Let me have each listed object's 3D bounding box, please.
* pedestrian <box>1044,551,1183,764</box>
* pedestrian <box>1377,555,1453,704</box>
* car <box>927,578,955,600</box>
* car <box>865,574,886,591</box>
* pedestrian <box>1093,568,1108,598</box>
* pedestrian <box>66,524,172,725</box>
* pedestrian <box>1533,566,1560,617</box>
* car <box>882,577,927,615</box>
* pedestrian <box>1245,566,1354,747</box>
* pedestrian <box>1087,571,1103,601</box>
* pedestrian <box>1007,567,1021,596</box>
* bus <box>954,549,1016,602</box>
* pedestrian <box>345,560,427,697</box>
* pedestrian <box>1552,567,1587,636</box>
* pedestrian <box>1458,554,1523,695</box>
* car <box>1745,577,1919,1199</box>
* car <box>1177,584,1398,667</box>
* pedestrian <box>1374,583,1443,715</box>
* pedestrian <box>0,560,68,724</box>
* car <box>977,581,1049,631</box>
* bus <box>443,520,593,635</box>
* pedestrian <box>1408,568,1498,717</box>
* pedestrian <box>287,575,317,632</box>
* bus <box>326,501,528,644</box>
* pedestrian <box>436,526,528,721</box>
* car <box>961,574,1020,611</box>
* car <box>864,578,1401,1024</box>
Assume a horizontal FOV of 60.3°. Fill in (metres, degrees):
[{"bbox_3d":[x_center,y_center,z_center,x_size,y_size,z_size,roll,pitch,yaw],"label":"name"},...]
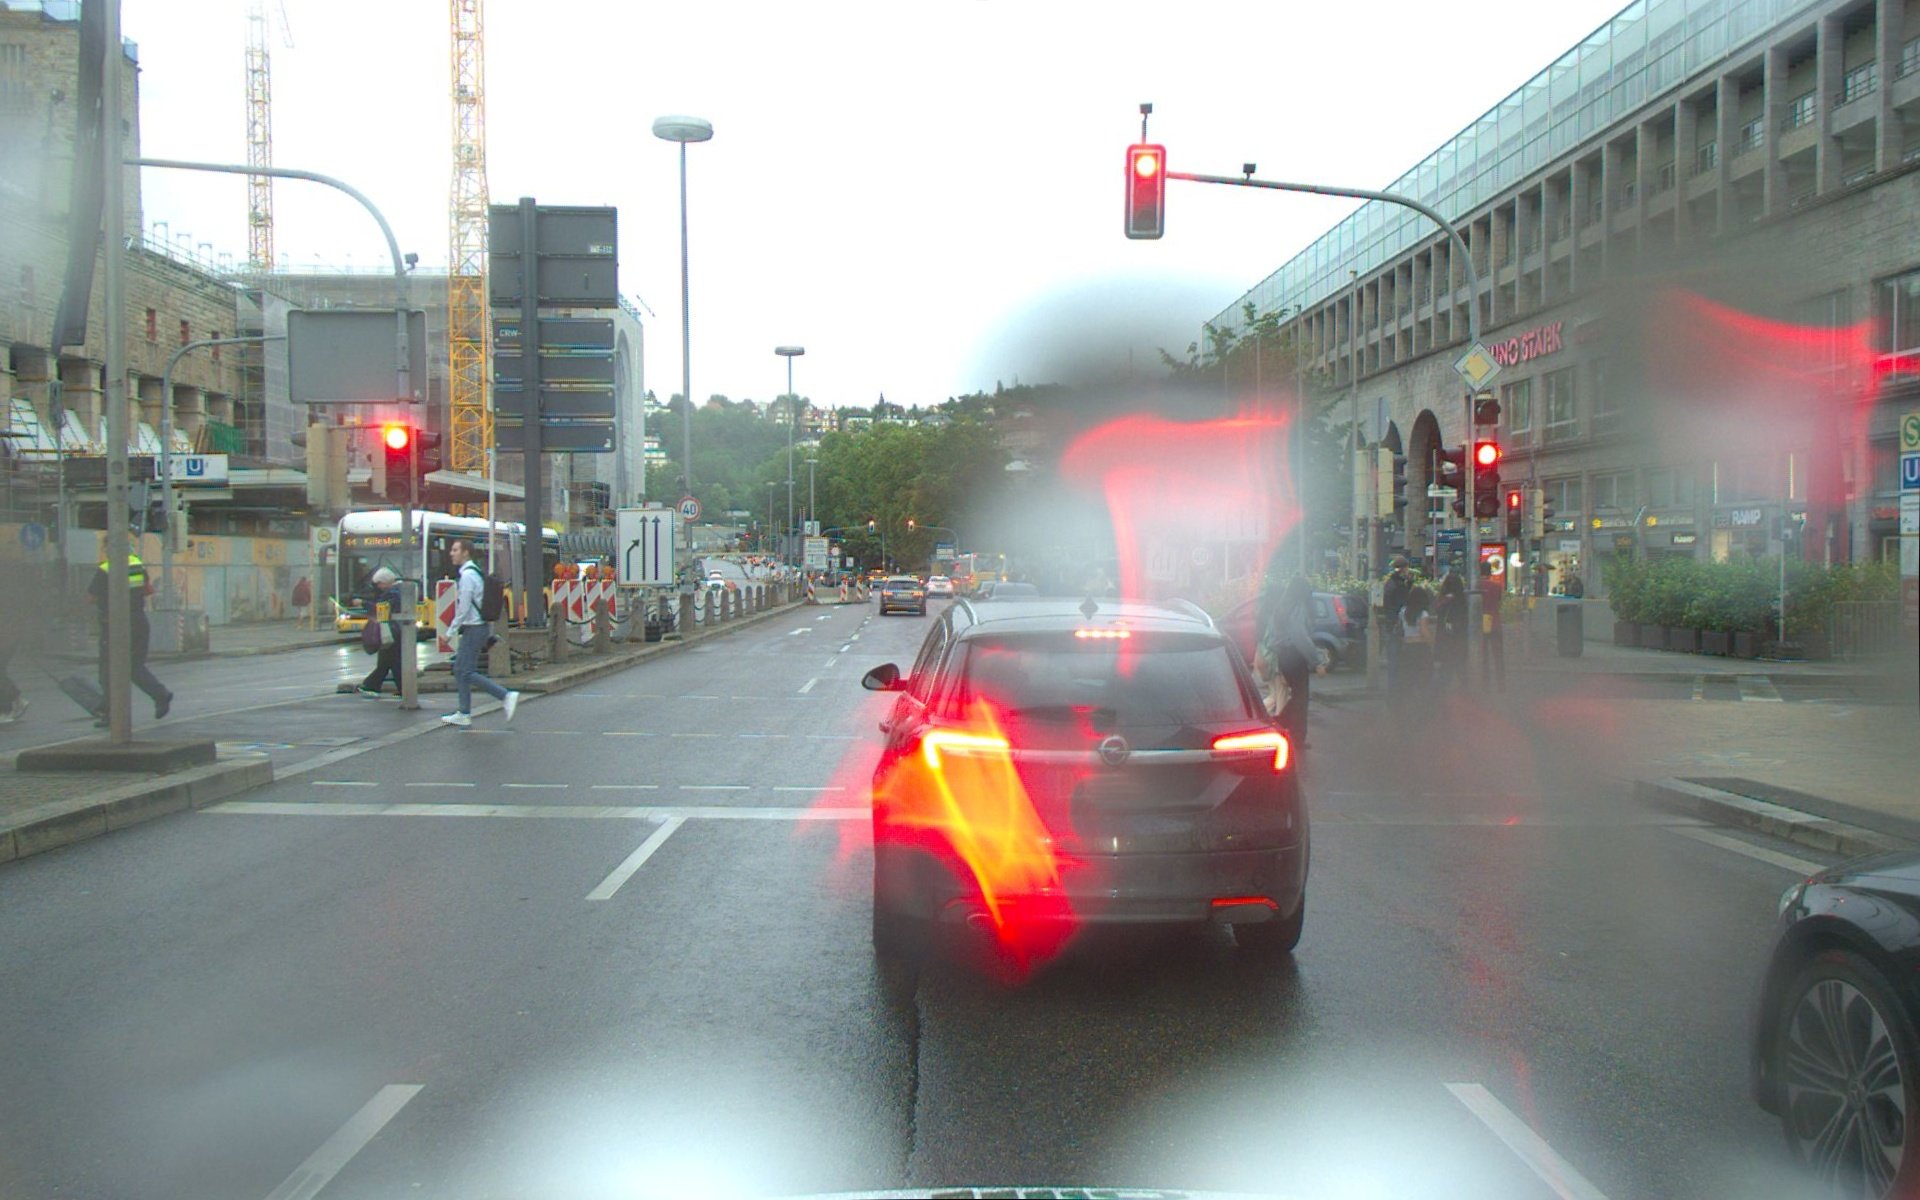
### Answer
[{"bbox_3d":[1.330,0.492,14.478,1.074,1.782,0.653,-2,0,-4],"label":"pedestrian"},{"bbox_3d":[5.430,0.346,19.760,0.740,1.747,0.466,1,0,-5],"label":"pedestrian"},{"bbox_3d":[-1.282,-0.732,110.684,1.808,1.422,3.563,1,0,-1],"label":"car"},{"bbox_3d":[-7.648,-1.596,149.984,1.723,1.422,3.563,1,0,-1],"label":"car"},{"bbox_3d":[8.011,-0.955,94.323,0.748,1.720,0.824,1,0,-5],"label":"pedestrian"},{"bbox_3d":[-8.046,0.229,15.844,0.566,1.868,0.819,1,0,-1],"label":"pedestrian"},{"bbox_3d":[23.729,-0.355,66.917,0.747,2.049,0.825,1,0,-1],"label":"pedestrian"},{"bbox_3d":[-2.206,-0.138,65.544,1.718,1.422,4.536,1,0,-2],"label":"car"},{"bbox_3d":[3.206,0.523,15.677,0.778,1.654,0.899,1,0,-4],"label":"pedestrian"},{"bbox_3d":[7.802,-0.808,95.416,0.748,1.720,0.824,1,0,-5],"label":"pedestrian"},{"bbox_3d":[4.617,-1.564,141.707,1.174,2.478,1.228,1,0,0],"label":"pedestrian"},{"bbox_3d":[1.695,-1.671,120.995,4.089,3.529,14.651,1,0,-1],"label":"bus"},{"bbox_3d":[-6.861,0.336,19.759,0.860,1.588,0.781,1,0,-23],"label":"pedestrian"},{"bbox_3d":[18.243,0.054,49.505,0.751,2.049,0.820,1,0,41],"label":"pedestrian"},{"bbox_3d":[6.853,0.308,21.364,0.560,1.783,0.676,1,0,42],"label":"pedestrian"},{"bbox_3d":[3.067,0.729,2.196,1.757,1.528,4.627,1,0,-1],"label":"car"},{"bbox_3d":[6.056,0.453,30.749,3.597,1.422,1.843,1,0,39],"label":"car"},{"bbox_3d":[5.204,0.565,19.190,0.665,1.500,0.366,1,0,-6],"label":"pedestrian"},{"bbox_3d":[-10.270,0.452,17.973,0.783,1.747,0.619,-1,0,-5],"label":"pedestrian"},{"bbox_3d":[1.540,0.168,49.788,1.718,1.422,4.645,1,0,-3],"label":"car"},{"bbox_3d":[-15.377,-0.721,58.381,2.614,3.665,10.209,1,0,-1],"label":"bus"},{"bbox_3d":[5.560,0.474,18.682,0.783,1.636,0.619,1,0,-5],"label":"pedestrian"},{"bbox_3d":[-21.849,0.111,54.931,0.648,1.887,0.798,0,0,-1],"label":"pedestrian"},{"bbox_3d":[-15.219,-0.722,48.199,2.614,3.665,10.237,1,0,-1],"label":"bus"},{"bbox_3d":[-4.807,0.233,16.679,0.784,1.923,0.619,1,0,-9],"label":"pedestrian"},{"bbox_3d":[1.192,-0.287,66.480,1.720,1.422,4.395,1,0,-7],"label":"car"},{"bbox_3d":[0.557,0.698,7.714,1.837,1.512,3.999,1,0,-1],"label":"car"}]
